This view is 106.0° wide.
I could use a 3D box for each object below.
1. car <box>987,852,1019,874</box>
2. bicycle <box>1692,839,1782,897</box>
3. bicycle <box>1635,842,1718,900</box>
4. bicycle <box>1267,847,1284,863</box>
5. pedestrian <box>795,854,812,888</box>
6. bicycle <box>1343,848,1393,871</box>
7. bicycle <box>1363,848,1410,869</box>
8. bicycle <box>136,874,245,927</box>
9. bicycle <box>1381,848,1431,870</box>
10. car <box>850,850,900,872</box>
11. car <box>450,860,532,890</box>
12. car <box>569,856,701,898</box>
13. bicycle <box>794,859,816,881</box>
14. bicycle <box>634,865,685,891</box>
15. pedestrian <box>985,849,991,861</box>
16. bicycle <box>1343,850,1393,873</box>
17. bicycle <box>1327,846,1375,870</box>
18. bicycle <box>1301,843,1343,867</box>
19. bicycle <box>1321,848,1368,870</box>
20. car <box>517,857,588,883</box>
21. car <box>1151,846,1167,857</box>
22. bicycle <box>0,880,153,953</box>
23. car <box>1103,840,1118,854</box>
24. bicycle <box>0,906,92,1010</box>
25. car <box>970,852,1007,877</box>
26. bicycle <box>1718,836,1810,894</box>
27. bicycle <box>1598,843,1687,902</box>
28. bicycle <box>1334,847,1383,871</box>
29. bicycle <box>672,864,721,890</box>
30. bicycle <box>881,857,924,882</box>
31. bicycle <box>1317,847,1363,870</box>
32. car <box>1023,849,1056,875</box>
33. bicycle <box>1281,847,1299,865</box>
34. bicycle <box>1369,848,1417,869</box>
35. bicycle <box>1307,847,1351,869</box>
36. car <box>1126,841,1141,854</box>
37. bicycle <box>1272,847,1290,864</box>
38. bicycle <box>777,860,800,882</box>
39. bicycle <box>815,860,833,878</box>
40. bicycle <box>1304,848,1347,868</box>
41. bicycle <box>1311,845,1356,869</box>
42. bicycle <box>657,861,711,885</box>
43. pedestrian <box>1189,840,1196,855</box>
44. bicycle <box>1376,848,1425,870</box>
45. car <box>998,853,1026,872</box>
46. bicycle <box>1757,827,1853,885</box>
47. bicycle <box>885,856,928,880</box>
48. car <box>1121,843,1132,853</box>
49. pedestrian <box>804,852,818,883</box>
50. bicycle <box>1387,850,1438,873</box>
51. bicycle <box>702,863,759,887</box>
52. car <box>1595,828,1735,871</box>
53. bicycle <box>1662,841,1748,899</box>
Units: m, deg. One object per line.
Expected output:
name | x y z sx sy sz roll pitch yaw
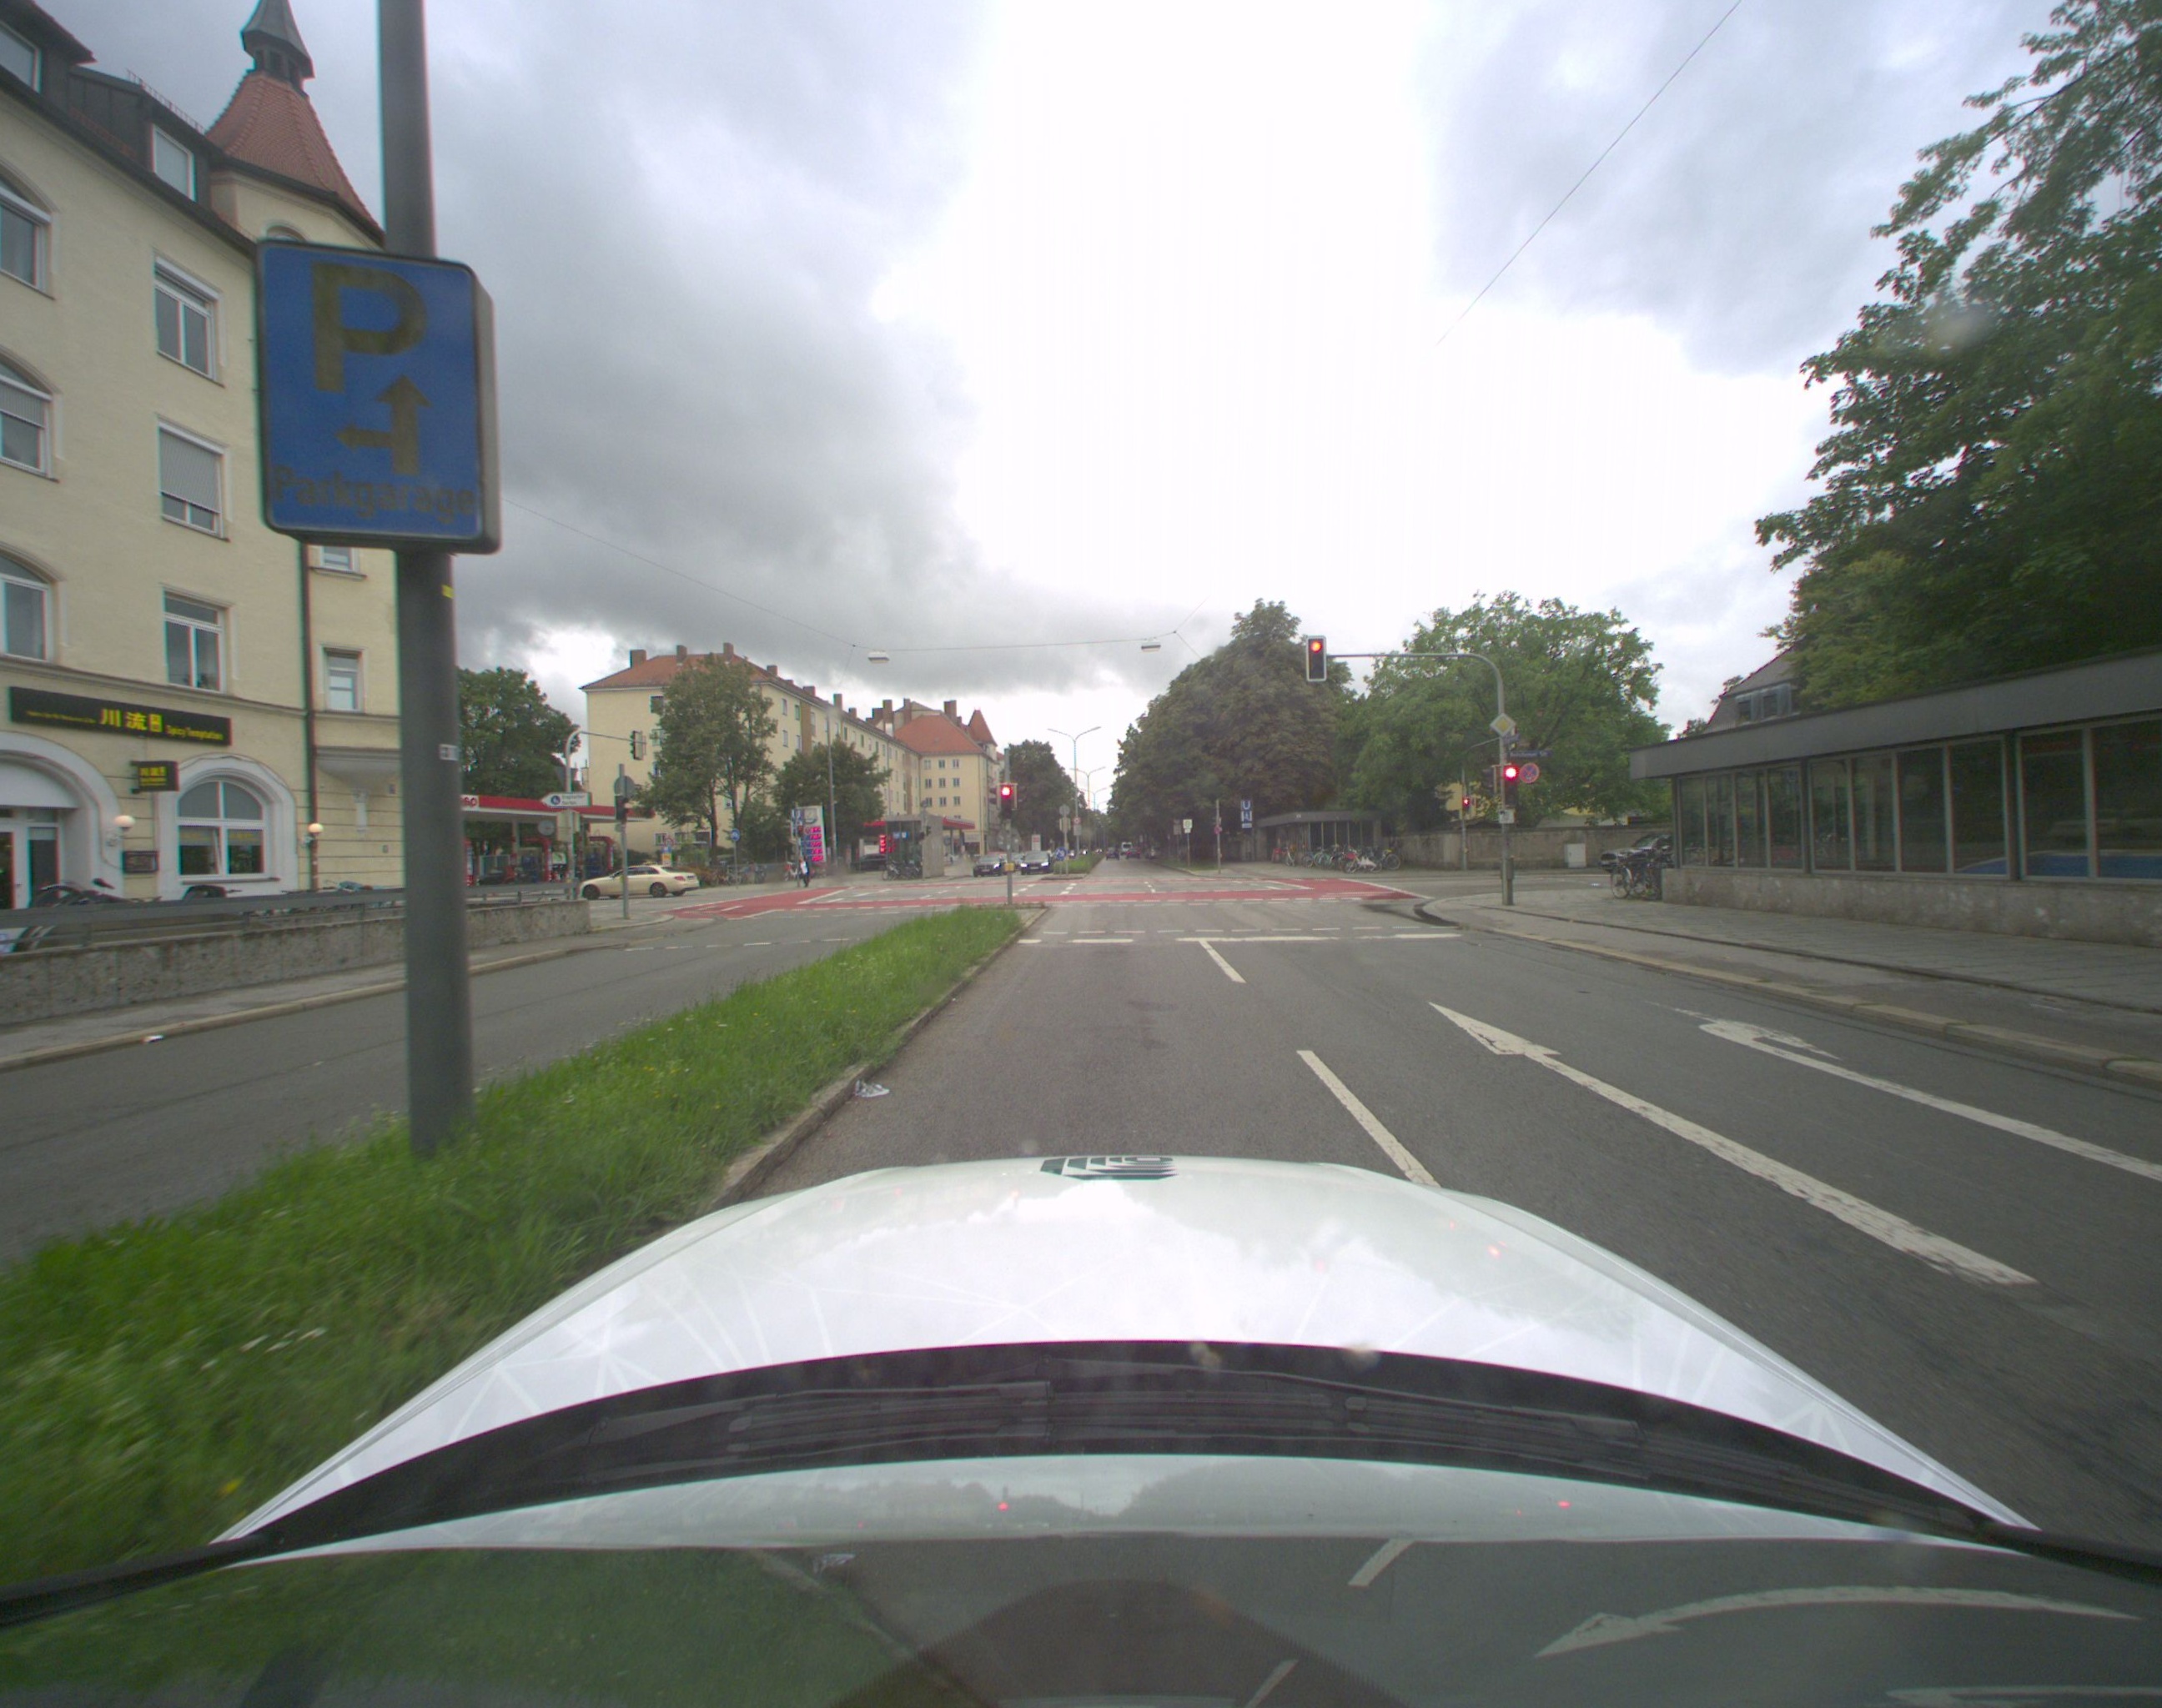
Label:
car | -5.661 0.641 59.680 1.753 1.460 4.002 -2 0 2
bicycle | 13.445 0.274 16.751 0.467 1.121 1.736 -2 0 3
bicycle | 12.228 0.343 16.791 0.467 1.121 1.736 -2 0 3
bicycle | 12.623 0.047 52.903 0.555 1.014 2.015 -2 0 0
pedestrian | -13.984 0.834 40.974 0.530 1.695 0.579 -2 0 14
bicycle | 13.484 0.251 38.289 2.129 1.014 0.636 -2 0 10
bicycle | 15.631 0.228 41.669 2.129 1.014 0.636 -2 0 10
bicycle | -18.207 0.927 16.698 0.471 0.980 1.546 -2 0 3
bicycle | 15.662 0.230 39.318 2.129 1.014 0.636 -2 0 10
car | -18.577 0.581 73.687 3.975 1.837 1.880 -2 0 -1
car | -38.697 1.348 53.494 3.972 1.784 1.858 -2 0 1
car | -19.566 0.988 35.888 4.750 1.646 1.784 -2 0 -1
bicycle | -16.293 0.944 48.103 0.607 1.236 2.184 -2 0 -4
bicycle | -22.012 1.259 42.537 2.178 1.236 0.764 -2 0 -8
pedestrian | -12.733 0.090 111.303 0.693 1.638 0.738 -2 0 2
bicycle | 13.262 0.354 37.672 2.129 1.014 0.604 -2 0 10
bicycle | 13.186 0.216 39.760 2.129 1.101 0.604 -2 0 10
bicycle | 13.068 0.051 44.253 2.129 1.218 0.604 -2 0 10
bicycle | 13.088 0.245 40.479 2.129 1.014 0.604 -2 0 10
car | -39.182 1.160 60.408 3.972 1.784 1.858 -2 0 1
car | 9.571 -0.310 100.411 1.736 1.363 3.808 -2 0 2
bicycle | -15.271 0.918 12.381 0.471 0.980 1.546 -2 0 3
car | 3.752 -0.861 103.113 1.850 1.684 4.002 -2 0 2
bicycle | -12.504 1.217 9.269 0.395 1.115 1.810 -2 0 -6
car | -5.962 0.648 52.873 1.753 1.460 4.002 -2 0 2
bicycle | 13.987 0.213 16.737 0.467 1.121 1.736 -2 0 3
bicycle | 11.578 0.367 16.868 0.597 1.121 1.891 -2 0 3
bicycle | 13.296 0.240 39.101 2.129 1.071 0.604 -2 0 10
bicycle | -20.078 1.187 42.562 2.180 1.236 0.763 -2 0 -10
bicycle | -10.156 0.879 46.413 2.262 1.304 0.705 -2 0 3
bicycle | 13.077 0.207 41.210 2.129 1.086 0.604 -2 0 10
car | -2.623 0.480 52.398 1.753 1.493 4.002 -2 0 2
bicycle | 11.997 0.121 46.806 0.555 1.014 2.015 -2 0 0
bicycle | 15.652 0.229 40.882 2.129 1.014 0.636 -2 0 10
bicycle | 12.976 0.217 42.654 2.129 1.062 0.604 -2 0 10
car | 7.052 -0.832 110.294 1.915 1.684 4.003 0 0 2
bicycle | 12.164 0.092 49.538 0.555 1.014 2.015 -2 0 0
bicycle | -16.983 0.967 47.296 0.607 1.236 2.184 -2 0 -4
bicycle | -16.462 0.954 52.259 0.607 1.145 1.963 -2 0 -4
bicycle | 13.041 0.198 43.534 2.129 1.014 0.604 -2 0 10
bicycle | 12.976 0.159 41.952 2.129 1.178 0.604 -2 0 10
bicycle | -21.057 1.023 43.233 2.393 1.251 0.789 0 0 -9
pedestrian | 12.345 -0.689 90.160 0.674 1.682 0.684 -2 0 8
bicycle | 15.700 0.231 40.086 2.129 1.014 0.636 -2 0 10
car | -5.621 0.653 66.652 1.753 1.460 4.002 -2 0 2
bicycle | 14.794 0.039 16.703 0.467 1.121 1.736 -2 0 3
bicycle | -10.100 0.831 47.192 2.275 1.304 0.695 -2 0 3
car | 8.863 -1.185 157.858 1.986 1.756 4.002 -2 0 2
pedestrian | -15.193 0.747 45.778 0.593 1.695 0.572 -2 0 -28
bicycle | 15.683 0.331 38.520 2.129 1.014 0.636 -2 0 10
bicycle | -18.758 1.106 43.601 2.719 1.251 0.786 0 0 -29
car | 22.824 -0.178 31.945 4.146 1.514 1.699 -2 0 6
bicycle | 12.804 0.312 16.777 0.467 1.121 1.736 -2 0 3
